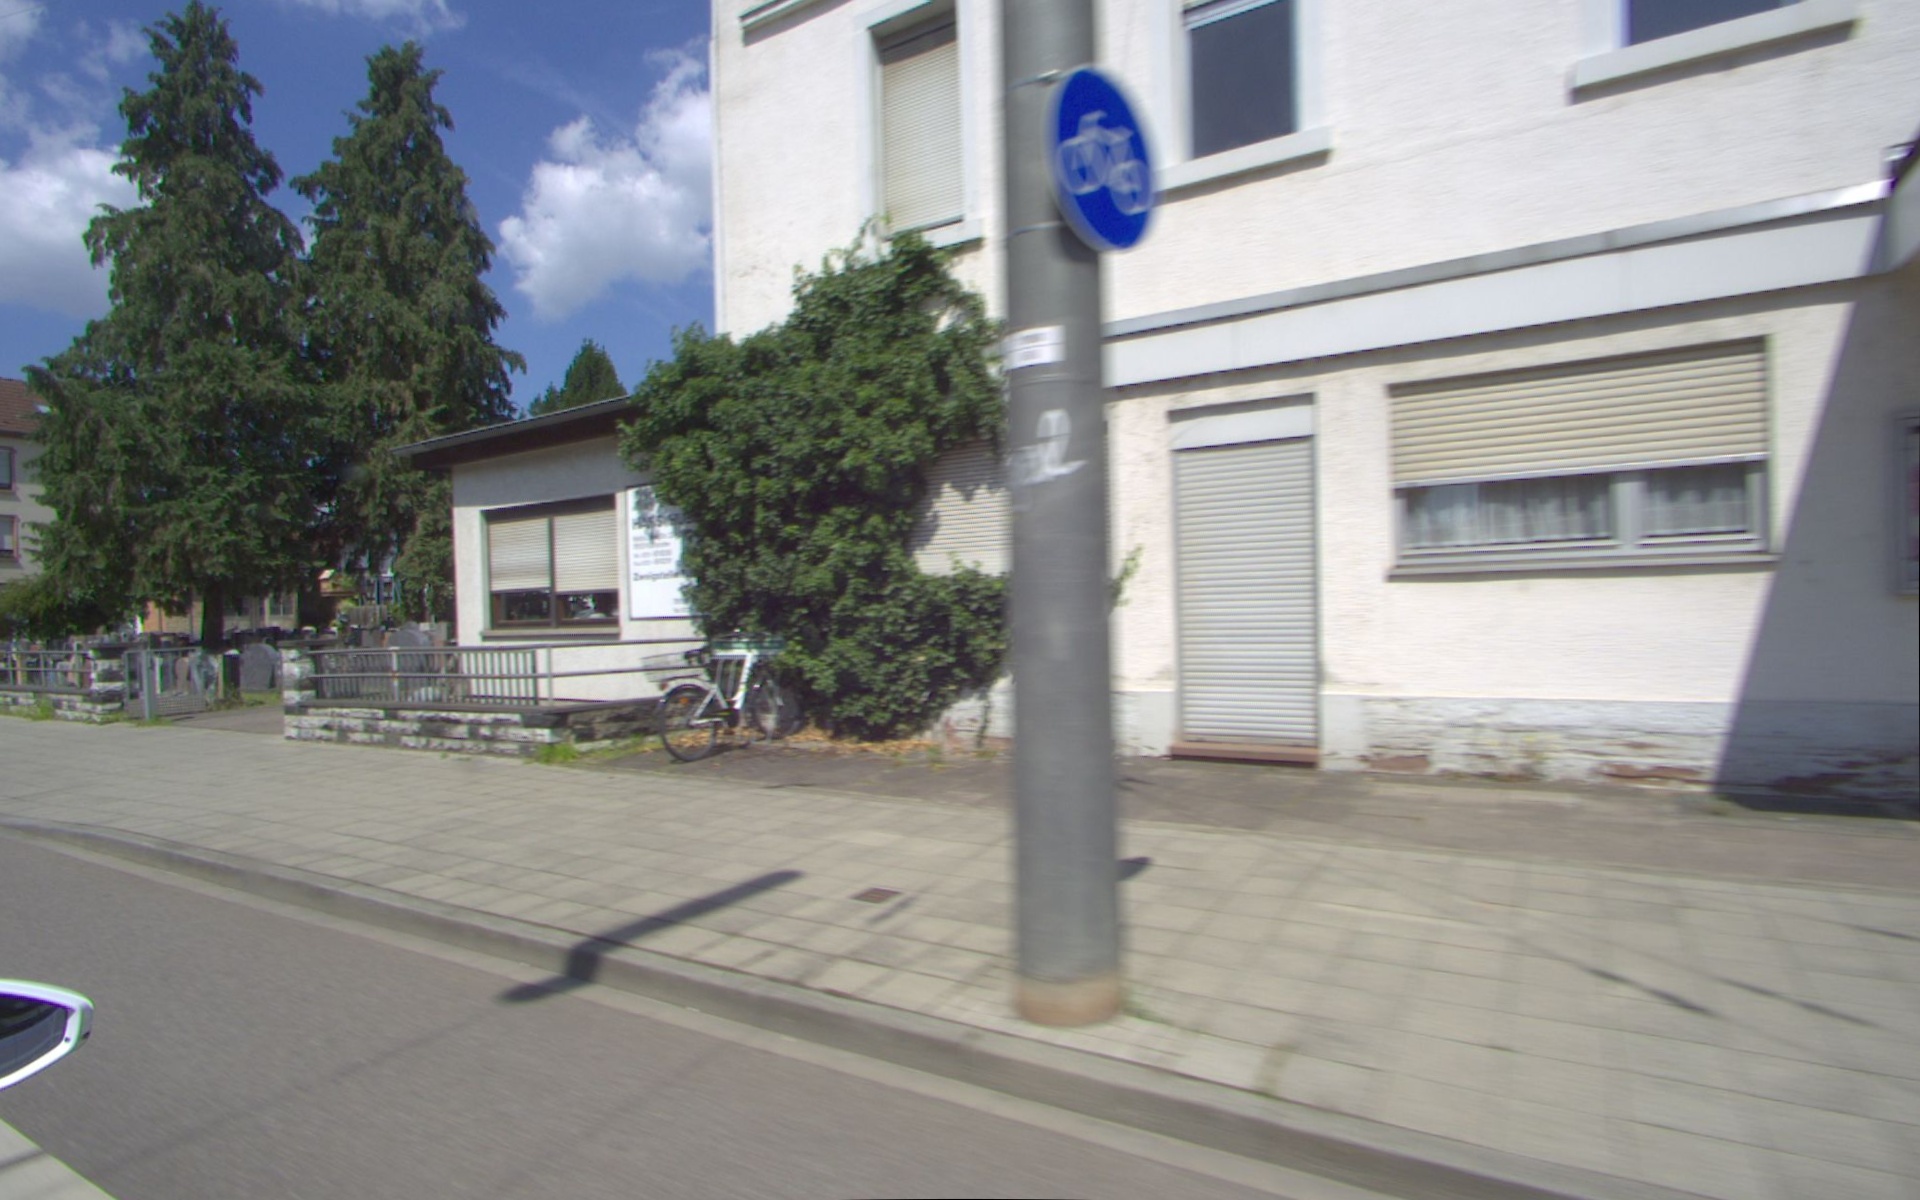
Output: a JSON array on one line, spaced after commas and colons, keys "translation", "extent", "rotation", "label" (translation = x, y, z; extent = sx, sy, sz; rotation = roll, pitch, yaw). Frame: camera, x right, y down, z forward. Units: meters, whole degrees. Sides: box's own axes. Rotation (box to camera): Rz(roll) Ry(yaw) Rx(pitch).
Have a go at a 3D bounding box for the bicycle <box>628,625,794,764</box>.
[{"translation": [-2.269, 0.831, 9.289], "extent": [0.424, 1.101, 1.526], "rotation": [-1, 2, 37], "label": "bicycle"}]
